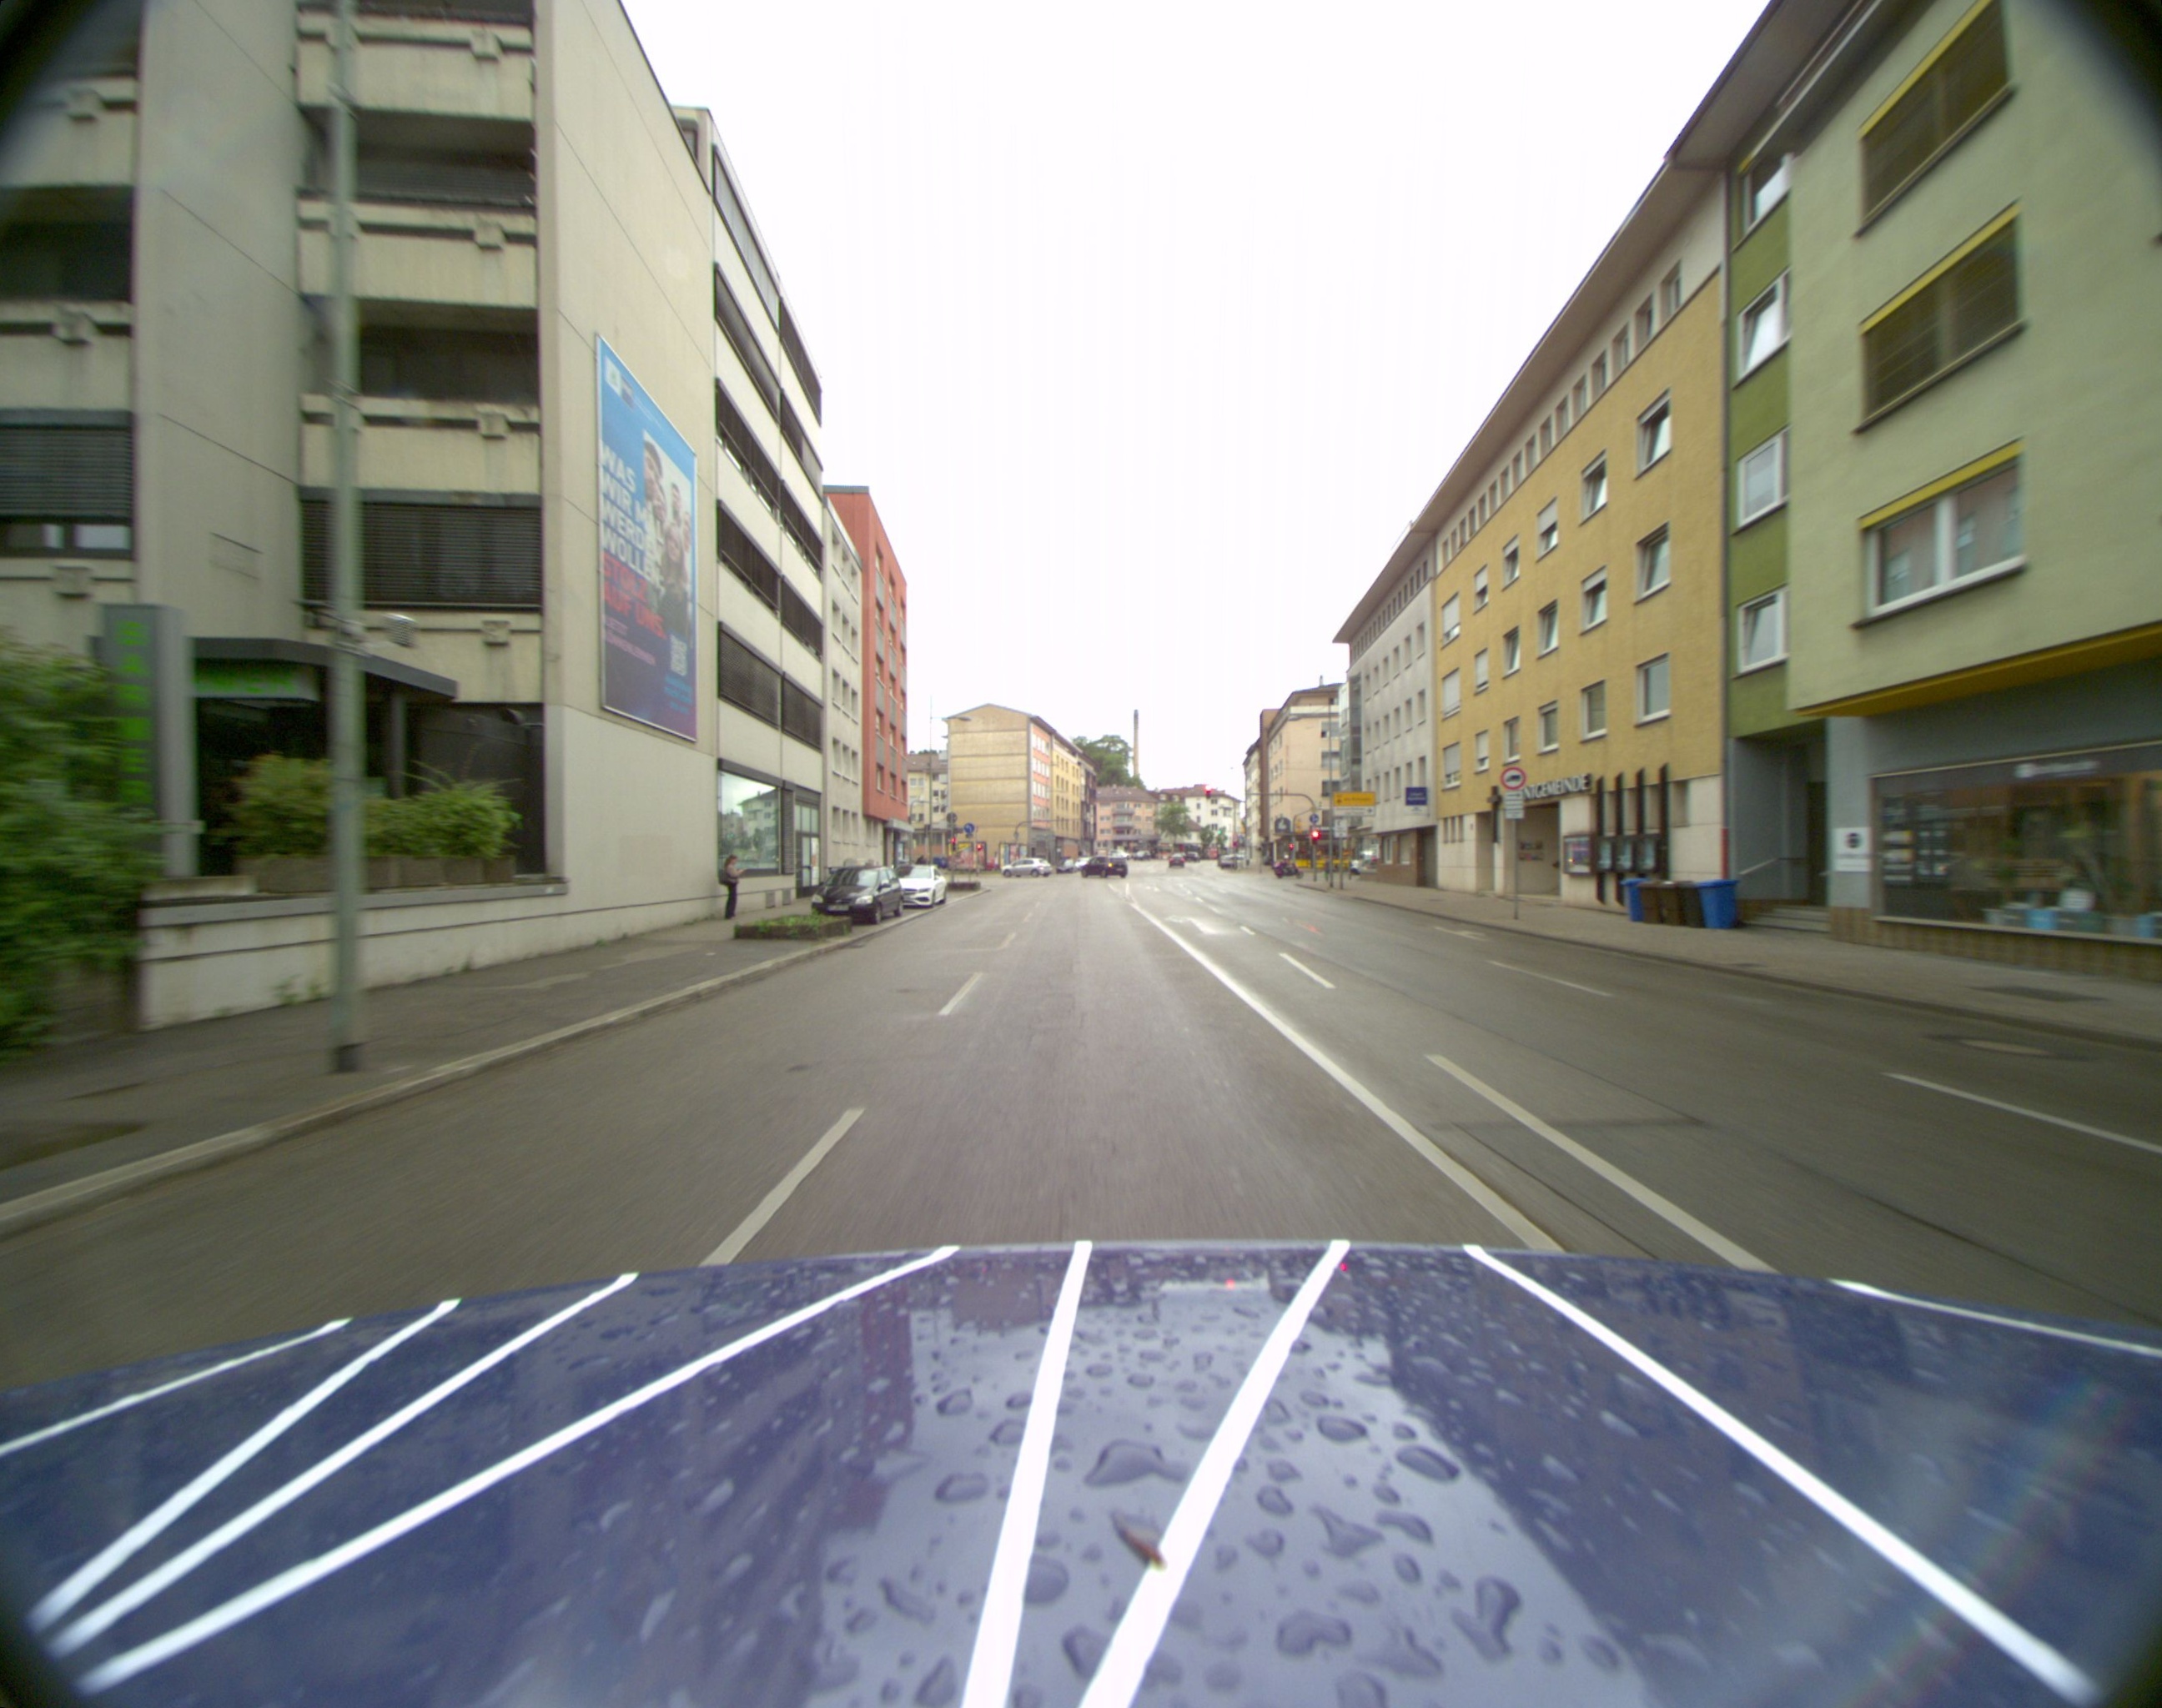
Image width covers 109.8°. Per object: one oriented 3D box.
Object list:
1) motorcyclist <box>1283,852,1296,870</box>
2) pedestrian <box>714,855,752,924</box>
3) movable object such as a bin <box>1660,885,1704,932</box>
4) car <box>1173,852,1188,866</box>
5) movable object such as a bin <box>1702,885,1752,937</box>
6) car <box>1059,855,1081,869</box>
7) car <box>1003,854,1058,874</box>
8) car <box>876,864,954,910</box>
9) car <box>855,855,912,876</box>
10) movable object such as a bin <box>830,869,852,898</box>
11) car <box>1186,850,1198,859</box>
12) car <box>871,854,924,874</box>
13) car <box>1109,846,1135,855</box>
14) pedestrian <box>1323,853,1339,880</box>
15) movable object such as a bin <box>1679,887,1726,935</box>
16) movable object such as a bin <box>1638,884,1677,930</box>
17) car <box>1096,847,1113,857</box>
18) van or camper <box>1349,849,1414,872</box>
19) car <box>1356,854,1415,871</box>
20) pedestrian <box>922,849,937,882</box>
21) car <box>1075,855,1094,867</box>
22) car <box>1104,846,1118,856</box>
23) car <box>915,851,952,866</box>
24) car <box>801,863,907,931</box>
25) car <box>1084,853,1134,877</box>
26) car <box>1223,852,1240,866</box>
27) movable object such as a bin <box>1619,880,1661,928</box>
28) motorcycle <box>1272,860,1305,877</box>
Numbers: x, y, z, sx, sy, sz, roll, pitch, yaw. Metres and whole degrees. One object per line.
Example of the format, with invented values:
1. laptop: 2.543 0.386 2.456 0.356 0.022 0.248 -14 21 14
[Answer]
1. motorcyclist: 15.144 0.519 55.166 0.871 1.320 0.493 0 1 8
2. pedestrian: -8.538 0.865 18.668 0.599 1.650 0.691 3 0 -7
3. movable object such as a bin: 12.426 1.124 15.723 0.529 0.922 0.426 -4 0 7
4. car: 11.890 0.575 91.154 1.748 1.586 4.002 0 0 8
5. movable object such as a bin: 12.547 1.098 14.764 0.529 0.955 0.435 -4 0 7
6. car: -1.128 0.847 79.081 1.736 1.389 3.744 0 0 8
7. car: -4.059 0.801 61.098 3.990 1.612 1.840 0 0 26
8. car: -5.737 1.106 26.747 1.835 1.412 4.569 1 0 -1
9. car: -15.719 0.889 60.626 3.996 1.612 1.837 0 0 4
10. movable object such as a bin: -9.230 1.136 29.214 0.681 1.097 0.514 0 0 -2
11. car: 18.231 0.093 124.306 1.591 1.518 3.491 0 0 14
12. car: -15.550 0.839 64.635 3.996 1.612 1.837 0 0 3
13. car: 7.488 -0.612 138.743 2.038 1.522 4.894 -1 0 -40
14. pedestrian: 15.048 0.746 45.699 0.785 1.578 0.674 -3 0 21
15. movable object such as a bin: 12.477 1.137 15.258 0.529 0.890 0.435 -4 0 7
16. movable object such as a bin: 12.335 1.138 16.273 0.465 0.922 0.428 -4 0 7
17. car: 3.454 -0.272 110.573 1.736 1.389 3.745 0 0 13
18. van or camper: 26.903 0.586 68.125 5.023 2.002 2.000 0 2 6
19. car: 24.909 0.697 62.173 4.094 1.282 1.842 0 0 2
20. pedestrian: -9.903 0.731 49.587 0.806 2.140 0.737 -1 1 -23
21. car: 0.449 0.793 86.937 1.736 1.389 3.744 0 0 8
22. car: 4.584 -0.440 115.738 1.736 1.389 3.744 0 0 8
23. car: -17.022 0.569 87.718 3.783 1.701 1.842 0 0 20
24. car: -5.835 1.050 19.997 1.706 1.549 3.804 1 0 -1
25. car: 2.026 0.779 55.943 1.883 1.674 3.990 -1 0 -30
26. car: 17.323 0.534 87.751 1.834 1.612 4.003 0 0 10
27. movable object such as a bin: 12.499 1.114 16.997 0.517 0.994 0.524 -4 0 7
28. motorcycle: 15.047 1.059 55.138 2.290 1.157 0.775 0 0 10
